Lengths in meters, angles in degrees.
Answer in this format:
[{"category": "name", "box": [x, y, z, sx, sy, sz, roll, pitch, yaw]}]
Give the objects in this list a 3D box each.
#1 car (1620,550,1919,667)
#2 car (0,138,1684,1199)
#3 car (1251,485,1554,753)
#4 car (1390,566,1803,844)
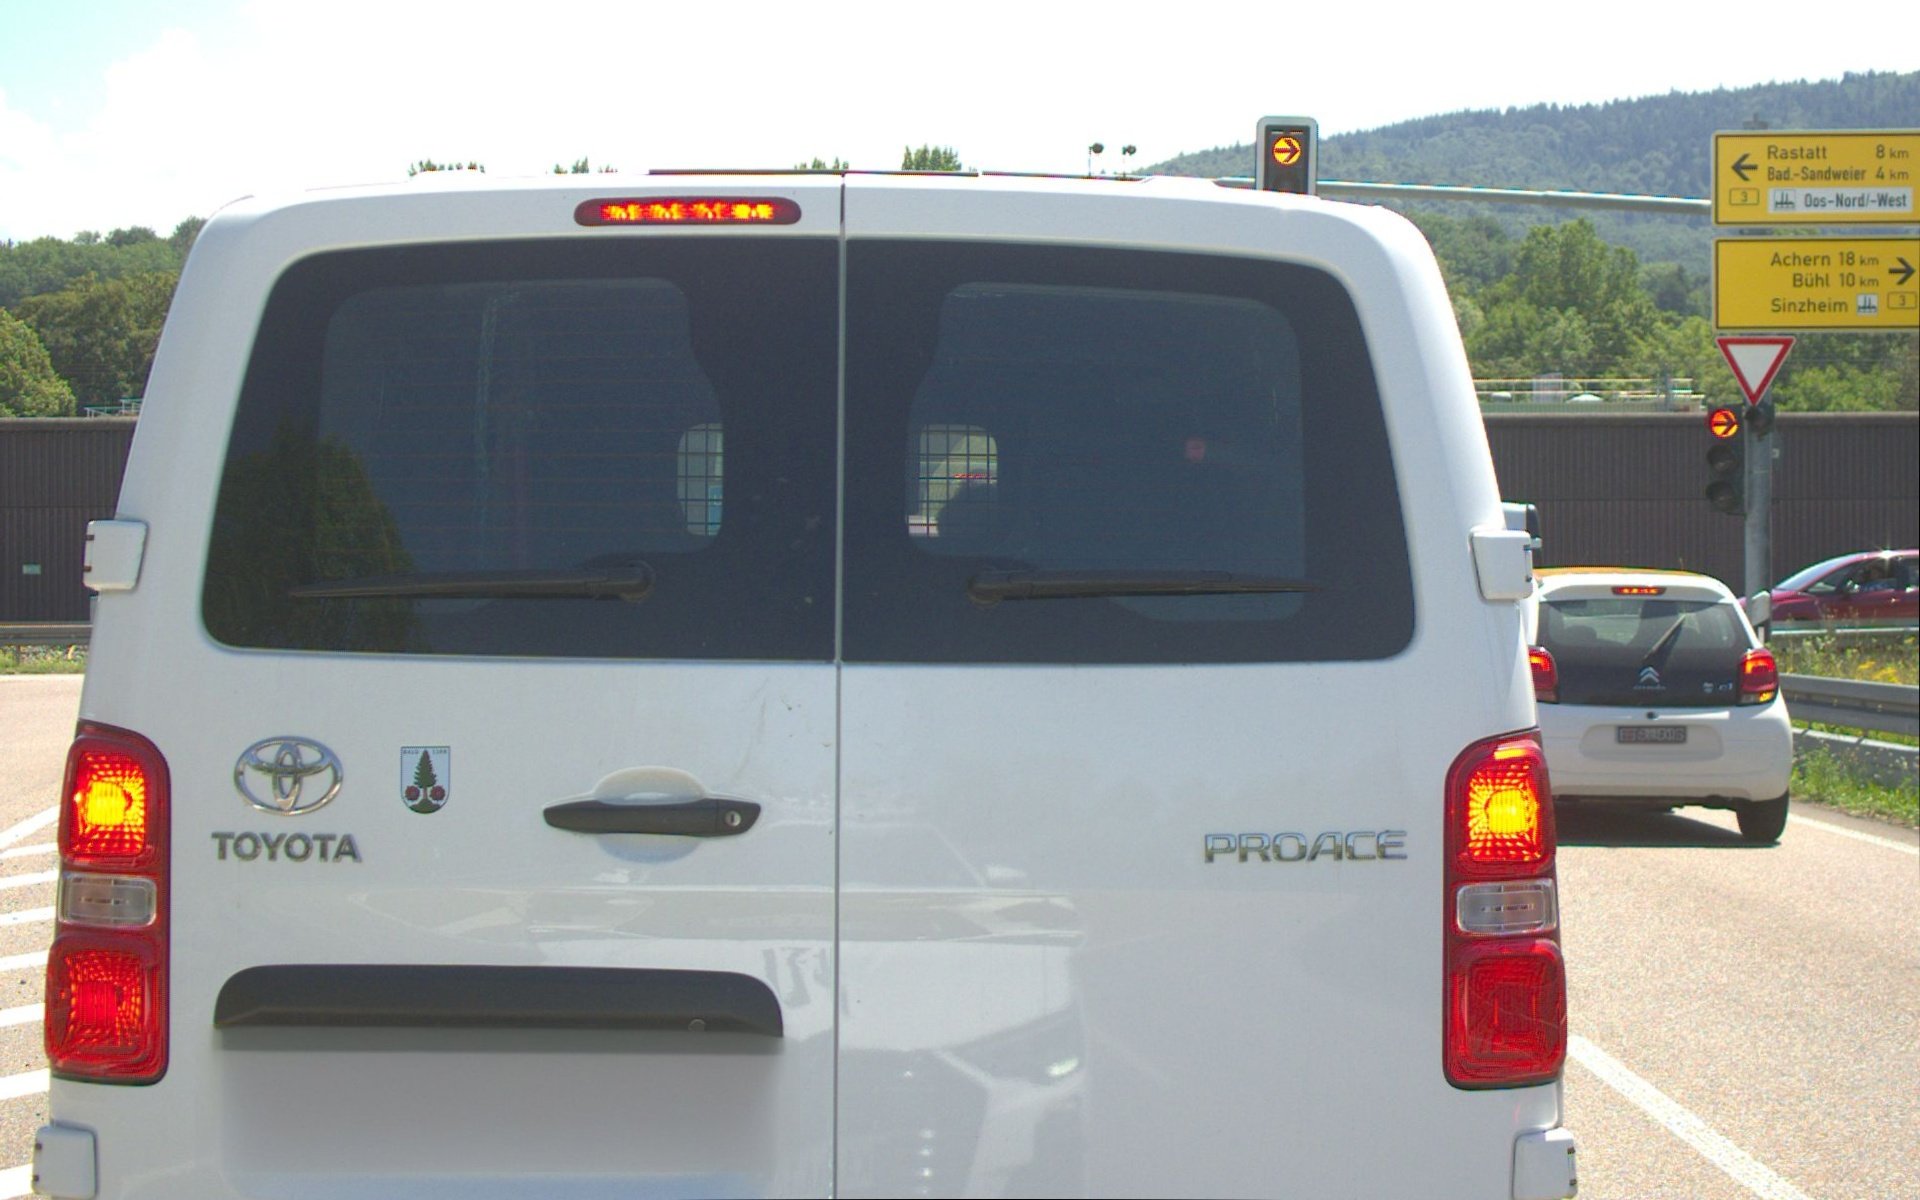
[{"category": "car", "box": [11.947, 0.108, 49.852, 4.309, 1.651, 2.000, 0, 1, -3]}, {"category": "car", "box": [-0.225, 0.440, 5.639, 1.886, 1.880, 4.000, 1, 1, -1]}, {"category": "car", "box": [3.524, 0.117, 28.229, 1.928, 1.993, 4.837, 1, 1, 1]}, {"category": "car", "box": [3.532, 0.532, 19.619, 1.656, 1.426, 3.366, 1, 1, -1]}]
